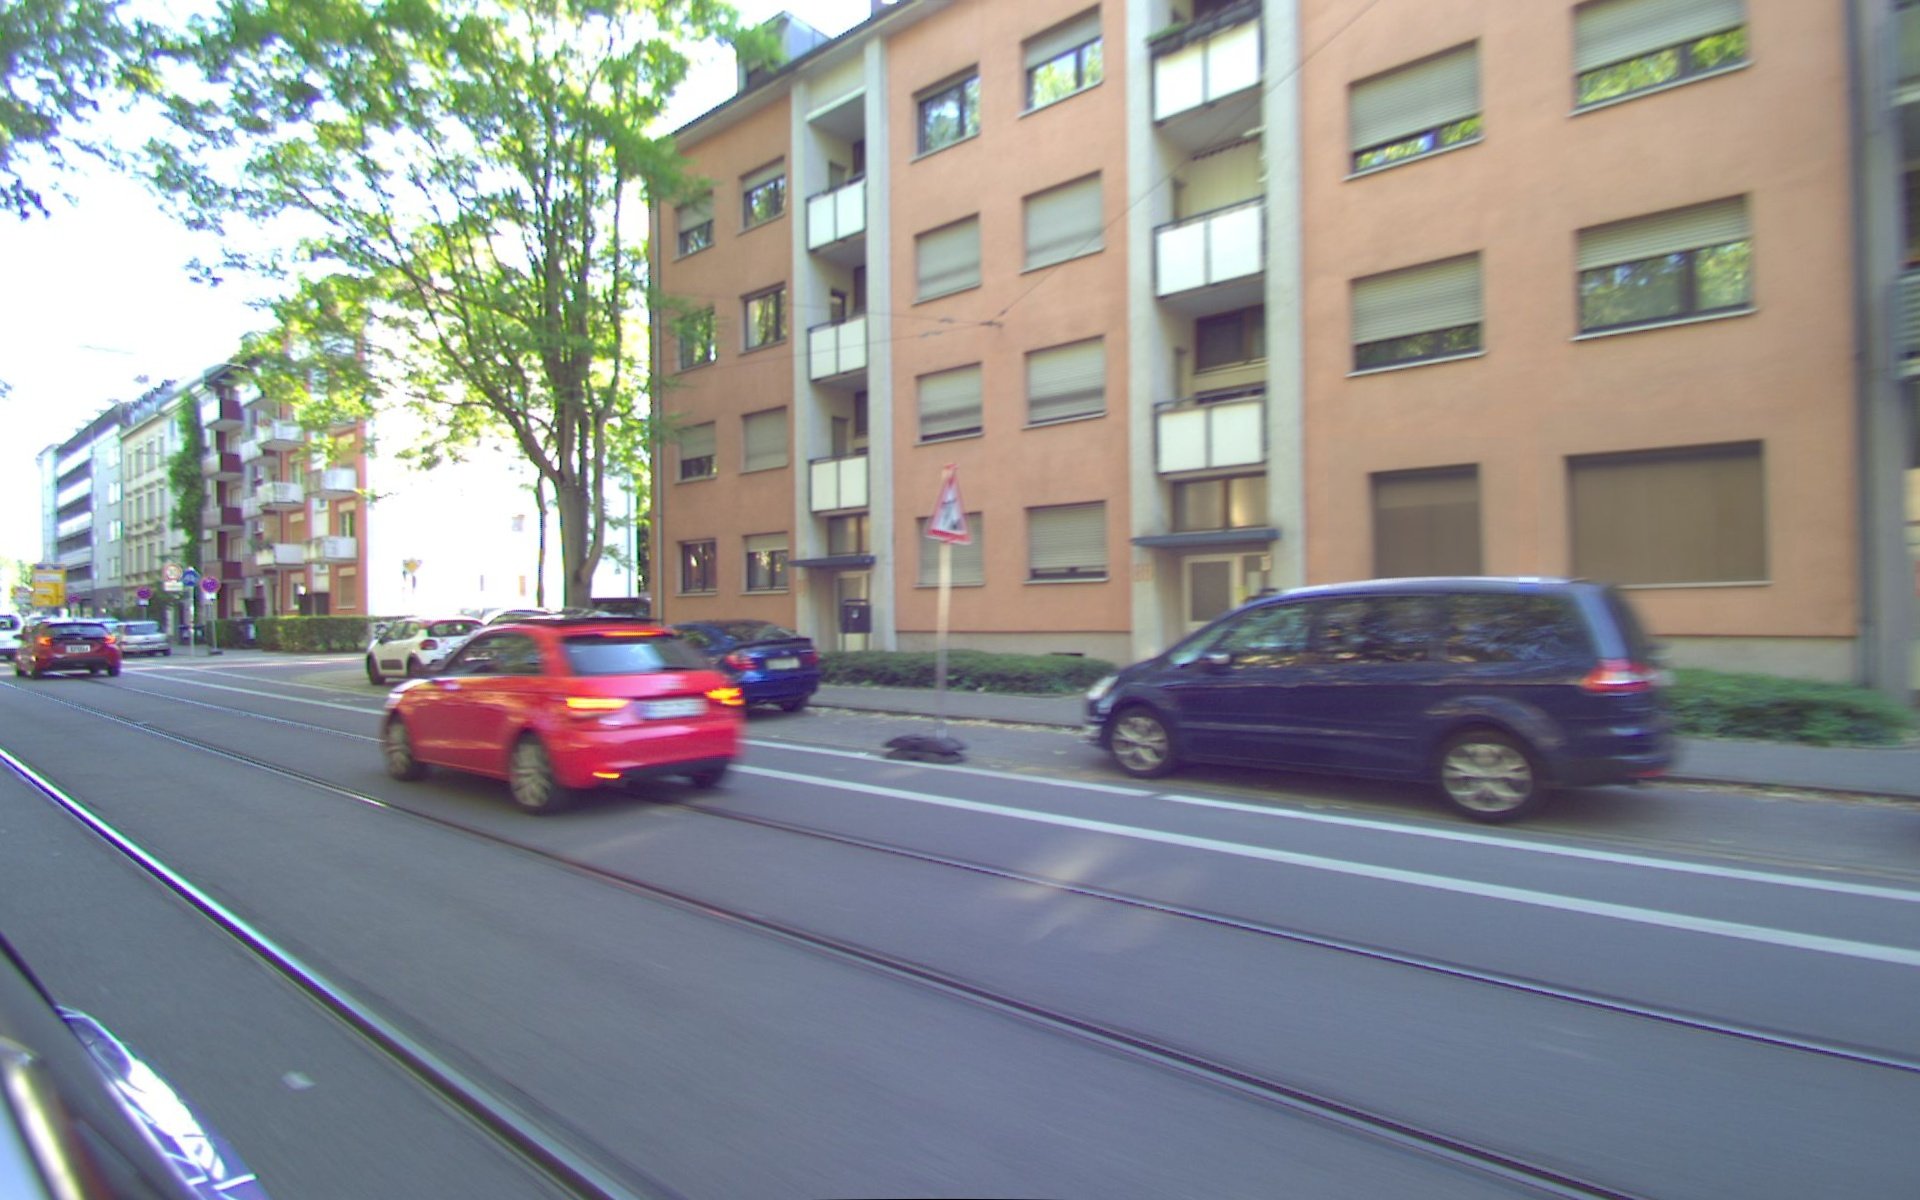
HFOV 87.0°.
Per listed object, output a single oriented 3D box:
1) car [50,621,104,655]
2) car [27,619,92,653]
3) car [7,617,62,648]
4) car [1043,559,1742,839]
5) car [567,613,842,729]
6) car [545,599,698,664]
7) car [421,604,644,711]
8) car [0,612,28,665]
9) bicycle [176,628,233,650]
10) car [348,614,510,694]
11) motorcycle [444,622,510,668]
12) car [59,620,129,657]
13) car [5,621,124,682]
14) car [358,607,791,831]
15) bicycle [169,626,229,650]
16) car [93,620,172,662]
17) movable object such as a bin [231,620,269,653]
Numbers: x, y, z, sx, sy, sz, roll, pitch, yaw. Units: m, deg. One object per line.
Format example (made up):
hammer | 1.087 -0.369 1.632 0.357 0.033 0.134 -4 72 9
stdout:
car | -44.427 1.864 50.904 3.781 1.583 1.608 -1 1 43
car | -48.576 1.909 54.543 4.878 1.661 1.933 -1 1 40
car | -56.572 2.001 61.859 4.465 1.784 1.771 -2 0 38
car | 3.334 0.631 8.530 5.067 1.699 1.933 -2 0 40
car | -3.908 0.970 15.075 4.379 1.411 1.721 -2 1 40
car | -11.606 1.058 34.797 4.676 2.139 1.992 -1 0 13
car | -7.819 0.967 18.304 4.584 1.622 1.763 -2 2 40
car | -35.951 1.409 37.263 4.892 1.846 1.872 -1 -1 41
bicycle | -39.417 2.000 52.849 0.698 1.000 2.268 -2 1 38
car | -11.671 1.111 22.137 4.089 1.489 1.787 -1 2 42
motorcycle | -14.680 1.376 30.722 2.345 1.290 0.893 -4 -3 39
car | -40.802 1.797 47.649 4.001 1.599 1.801 -2 0 39
car | -23.254 1.285 26.241 4.200 1.469 1.757 -1 -2 41
car | -3.394 0.816 8.527 4.067 1.448 1.705 -1 -2 41
bicycle | -40.278 2.000 53.612 0.698 1.070 2.427 -2 1 38
car | -33.163 1.608 40.536 3.927 1.494 1.708 -1 1 40
movable object such as a bin | -30.691 1.567 43.765 0.747 1.375 1.198 -2 -1 42
